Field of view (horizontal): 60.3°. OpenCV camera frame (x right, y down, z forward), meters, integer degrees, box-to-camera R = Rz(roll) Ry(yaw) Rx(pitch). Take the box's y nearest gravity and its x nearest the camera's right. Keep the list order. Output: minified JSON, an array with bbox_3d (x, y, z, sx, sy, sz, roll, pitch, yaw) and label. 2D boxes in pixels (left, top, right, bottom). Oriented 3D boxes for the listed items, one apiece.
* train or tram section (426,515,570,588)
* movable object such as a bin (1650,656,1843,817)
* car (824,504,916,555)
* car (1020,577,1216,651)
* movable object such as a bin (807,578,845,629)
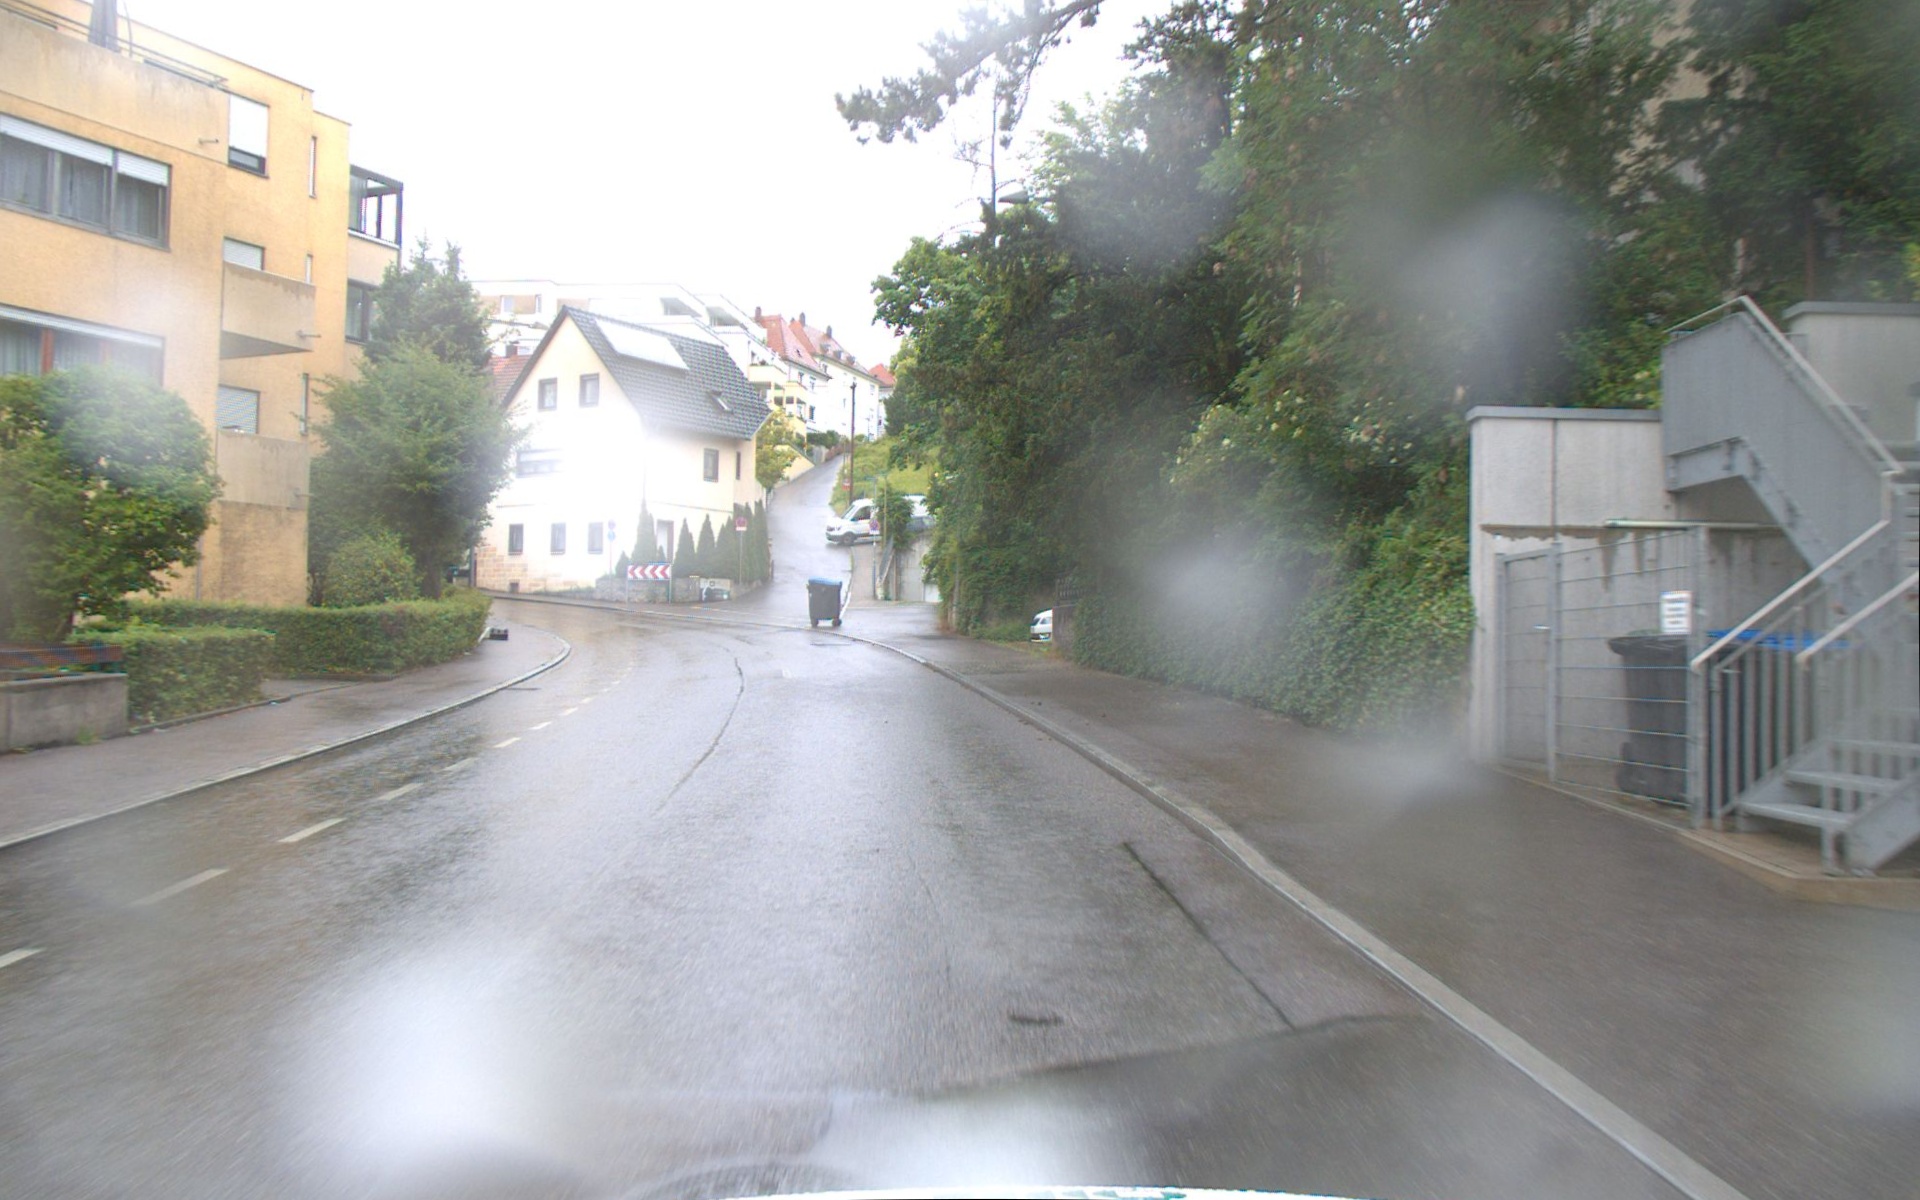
[{"bbox_3d":[-21.381,-2.207,76.957,2.314,3.259,6.858,1,1,29],"label":"train or tram section"},{"bbox_3d":[4.992,0.852,10.541,0.857,0.957,0.746,0,0,-4],"label":"movable object such as a bin"},{"bbox_3d":[-4.970,-3.863,91.016,4.853,2.614,1.900,-2,1,-10],"label":"car"},{"bbox_3d":[3.486,0.292,36.947,4.064,1.502,1.902,-2,1,-6],"label":"car"},{"bbox_3d":[-4.018,0.095,49.721,1.060,1.467,1.457,1,1,-3],"label":"movable object such as a bin"}]
